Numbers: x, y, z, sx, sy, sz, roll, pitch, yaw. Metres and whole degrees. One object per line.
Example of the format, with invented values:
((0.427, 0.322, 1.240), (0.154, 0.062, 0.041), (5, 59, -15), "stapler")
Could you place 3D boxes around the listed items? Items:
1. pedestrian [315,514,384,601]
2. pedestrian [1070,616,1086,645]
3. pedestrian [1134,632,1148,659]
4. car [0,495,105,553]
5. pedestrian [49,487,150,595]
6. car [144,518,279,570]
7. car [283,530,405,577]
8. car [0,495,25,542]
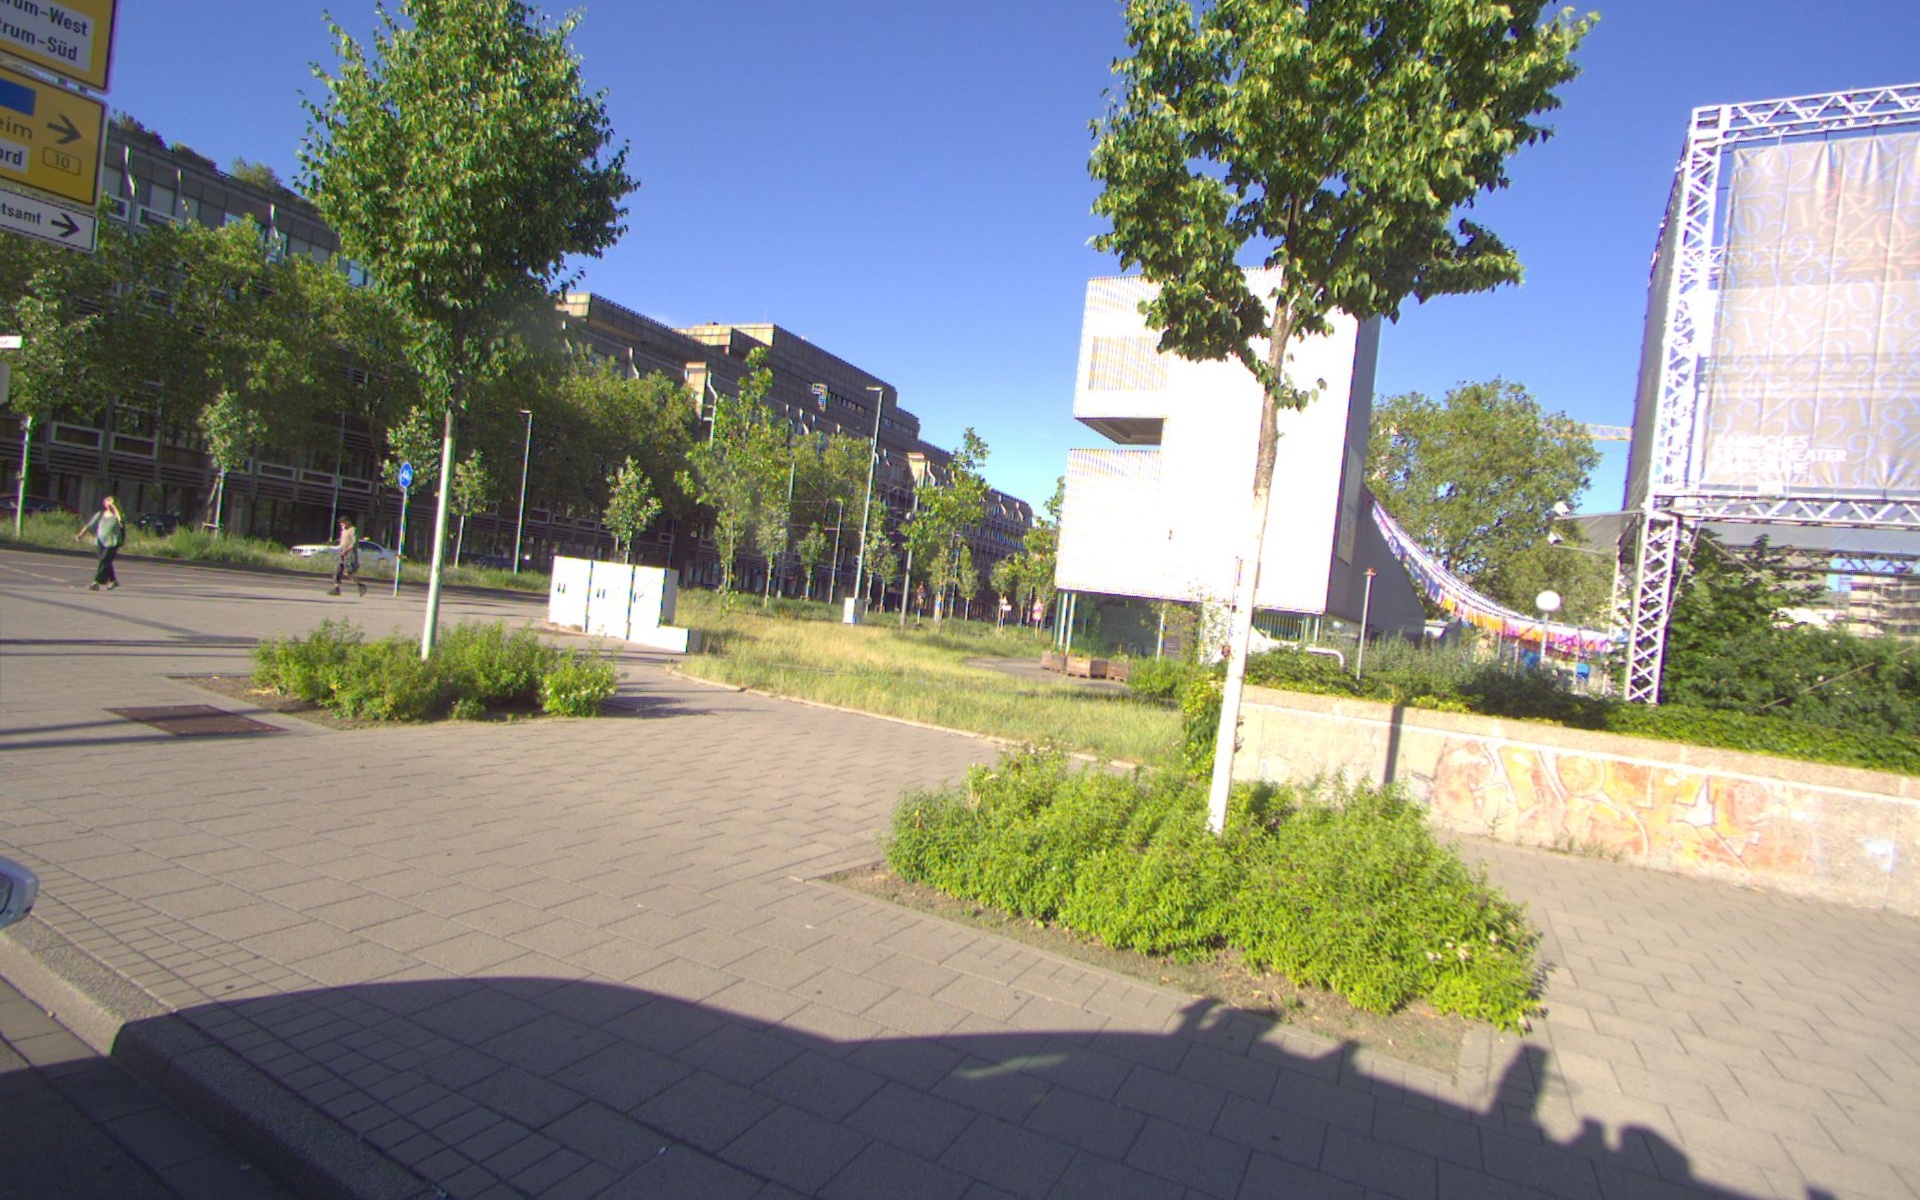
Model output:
((-13.123, -0.898, 21.626), (0.755, 1.728, 0.873), (7, 1, 30), "pedestrian")
((6.785, 1.771, 57.826), (0.520, 1.571, 0.638), (7, -1, 31), "pedestrian")
((10.982, 2.770, 61.126), (0.521, 1.571, 0.436), (7, -1, 32), "pedestrian")
((-33.267, -2.788, 35.473), (1.792, 1.704, 4.302), (7, -1, 21), "car")
((-14.301, -0.962, 16.737), (0.753, 1.634, 0.875), (7, 0, 8), "pedestrian")
((-33.440, -2.476, 45.105), (1.794, 1.704, 4.412), (7, -1, 29), "car")
((-30.737, -2.278, 50.351), (1.794, 1.704, 4.854), (7, -1, 28), "car")
((-37.499, -3.285, 37.100), (1.732, 1.704, 3.993), (7, -1, 30), "car")
